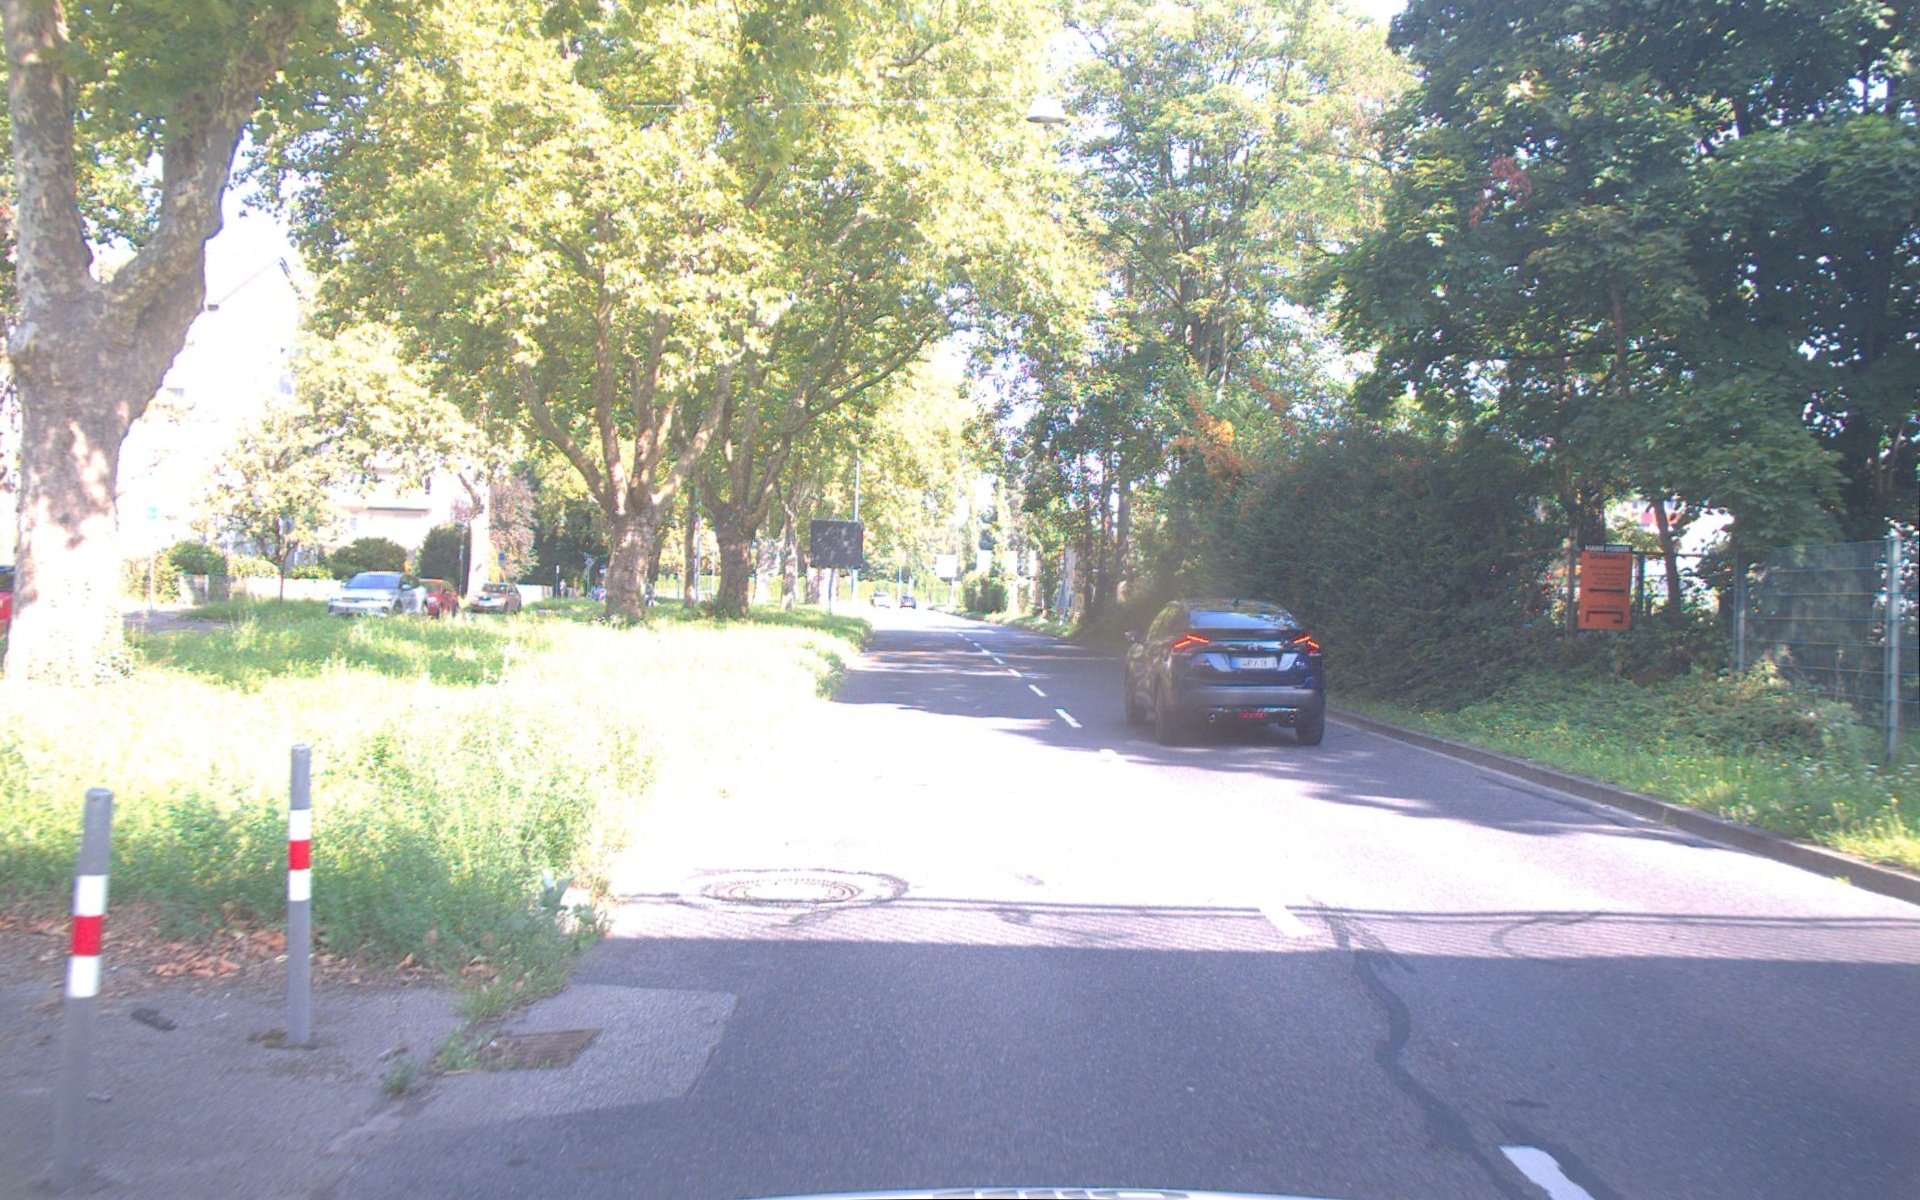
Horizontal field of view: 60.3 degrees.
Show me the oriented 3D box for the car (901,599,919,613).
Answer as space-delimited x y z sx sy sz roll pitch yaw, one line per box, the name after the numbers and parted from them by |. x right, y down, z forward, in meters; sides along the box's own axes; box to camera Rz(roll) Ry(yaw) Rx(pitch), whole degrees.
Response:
-5.445 0.622 178.985 1.762 1.425 3.997 2 0 -4 | car

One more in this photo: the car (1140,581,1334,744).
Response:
3.026 0.647 18.817 1.611 1.616 4.255 1 -1 2 | car

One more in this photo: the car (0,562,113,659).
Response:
-16.385 0.144 28.463 1.657 1.559 4.067 2 0 -3 | car

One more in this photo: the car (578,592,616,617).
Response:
-23.751 0.284 108.316 1.665 1.534 4.538 2 0 -3 | car

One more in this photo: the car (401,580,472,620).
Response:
-20.393 0.009 64.572 1.507 1.477 4.063 2 0 -2 | car

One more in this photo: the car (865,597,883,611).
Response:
-9.294 0.443 179.321 1.653 1.487 3.850 2 -1 1 | car

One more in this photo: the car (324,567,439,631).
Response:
-16.786 -0.033 48.219 1.765 1.750 4.718 1 0 -2 | car

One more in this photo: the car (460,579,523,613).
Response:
-21.386 -0.173 75.626 1.766 1.455 4.063 2 0 -2 | car

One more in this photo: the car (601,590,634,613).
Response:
-24.164 0.114 116.738 1.665 1.595 3.997 2 0 -3 | car

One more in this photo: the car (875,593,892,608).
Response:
-7.840 0.069 168.833 1.654 1.487 3.998 2 0 -2 | car

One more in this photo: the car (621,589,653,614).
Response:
-24.272 0.100 124.541 1.665 1.762 4.656 2 0 -3 | car
